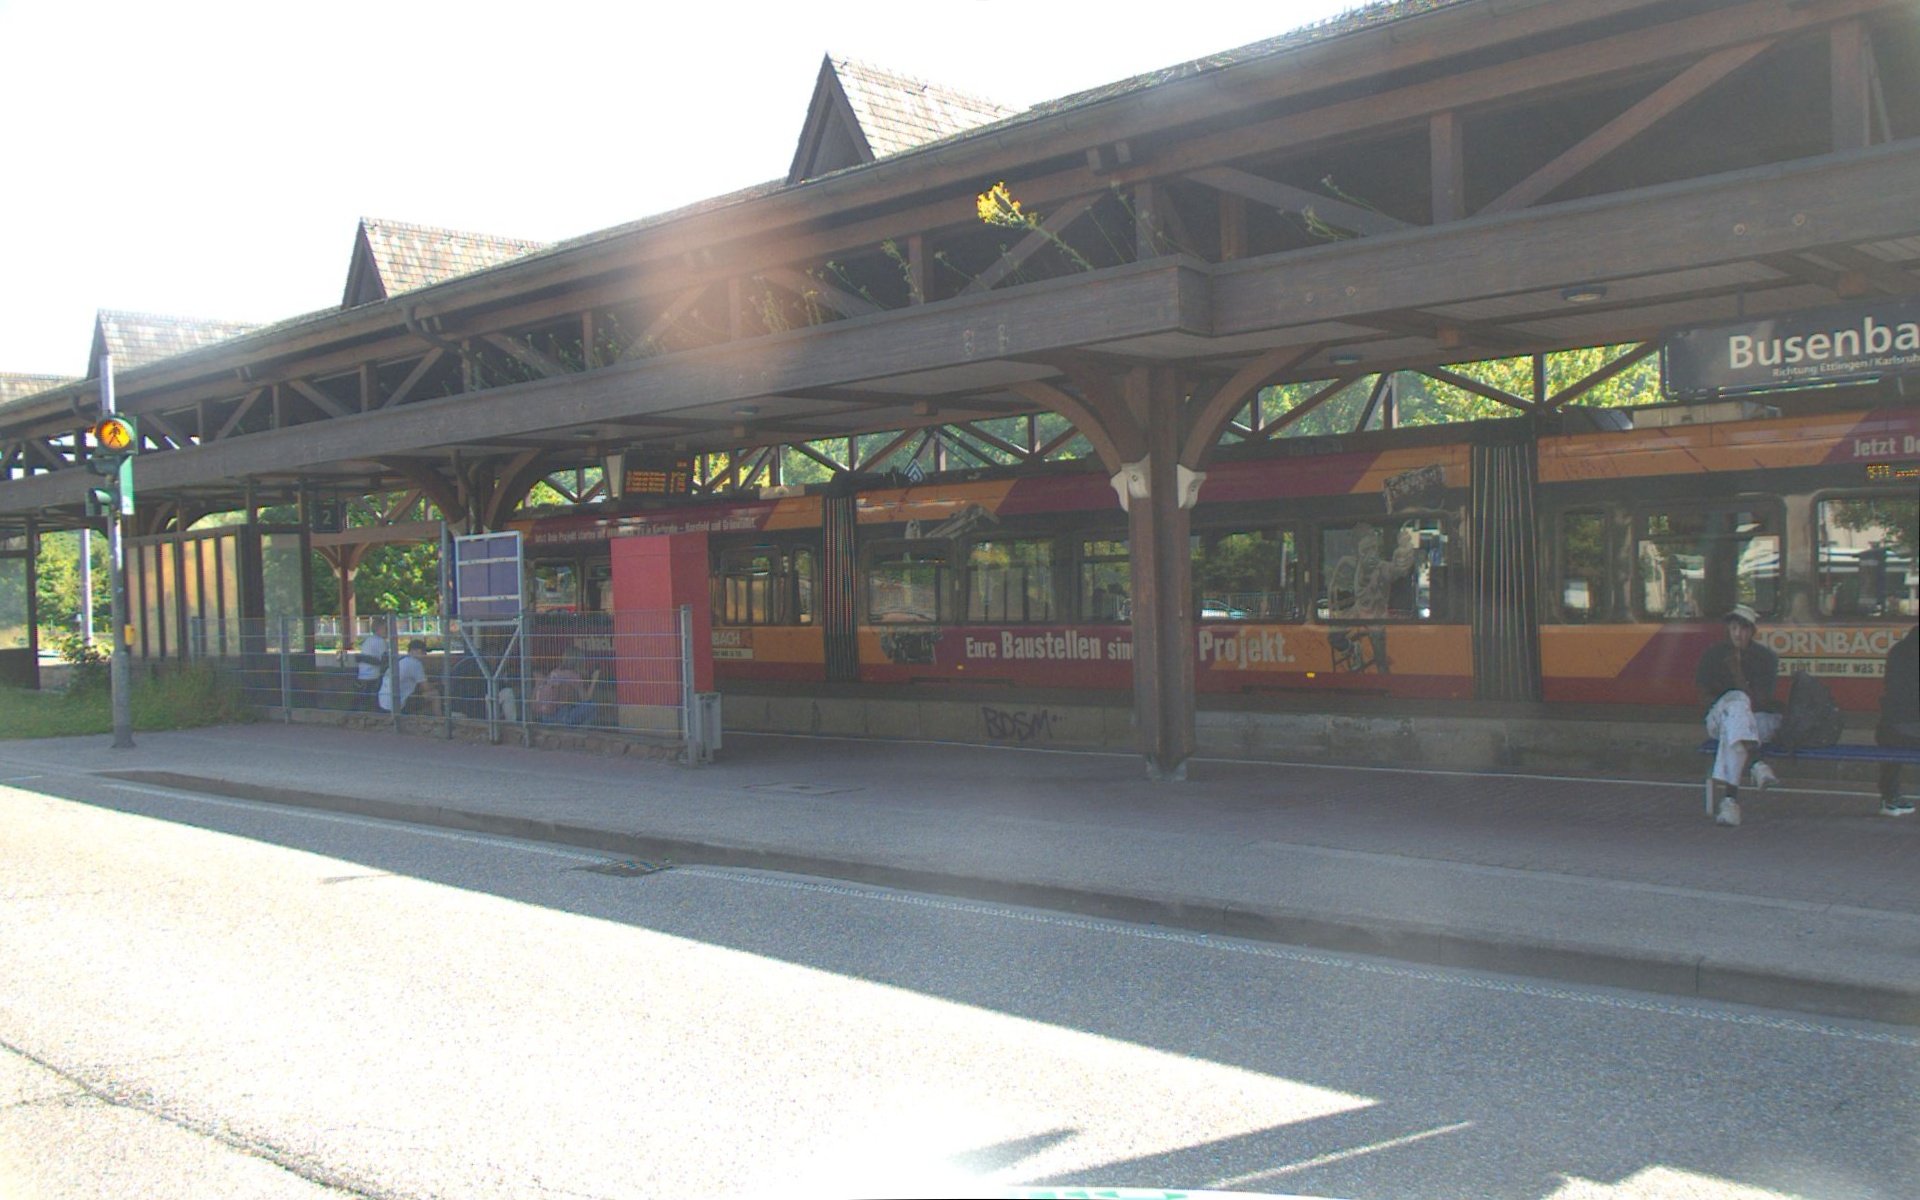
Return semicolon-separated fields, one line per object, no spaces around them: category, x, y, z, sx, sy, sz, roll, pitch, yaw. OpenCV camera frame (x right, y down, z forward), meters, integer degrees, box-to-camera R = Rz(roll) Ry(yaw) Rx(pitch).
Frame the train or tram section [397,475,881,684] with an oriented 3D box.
train or tram section;-6.670;-0.328;32.100;11.836;3.423;2.747;0;-1;43

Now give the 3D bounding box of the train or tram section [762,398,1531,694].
train or tram section;2.050;-0.525;24.182;11.833;3.423;2.778;-1;-2;42

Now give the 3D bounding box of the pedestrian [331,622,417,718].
pedestrian;-7.247;0.854;20.464;0.655;1.136;0.741;1;-1;39

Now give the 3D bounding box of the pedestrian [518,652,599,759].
pedestrian;-3.840;0.998;15.834;0.399;0.983;0.616;1;-1;39

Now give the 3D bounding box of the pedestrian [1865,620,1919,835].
pedestrian;5.750;0.710;9.470;0.929;1.180;1.007;-1;-1;32

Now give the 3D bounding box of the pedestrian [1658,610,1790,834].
pedestrian;4.607;0.700;9.948;0.584;1.257;0.992;1;-1;32

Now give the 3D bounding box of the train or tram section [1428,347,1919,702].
train or tram section;11.682;-0.732;15.697;14.089;3.424;2.849;0;-1;41

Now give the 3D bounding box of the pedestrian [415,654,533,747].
pedestrian;-4.976;1.013;16.935;0.792;0.889;0.843;1;-1;39

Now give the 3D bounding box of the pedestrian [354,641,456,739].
pedestrian;-6.022;0.963;17.943;0.754;0.999;0.741;1;-1;39
